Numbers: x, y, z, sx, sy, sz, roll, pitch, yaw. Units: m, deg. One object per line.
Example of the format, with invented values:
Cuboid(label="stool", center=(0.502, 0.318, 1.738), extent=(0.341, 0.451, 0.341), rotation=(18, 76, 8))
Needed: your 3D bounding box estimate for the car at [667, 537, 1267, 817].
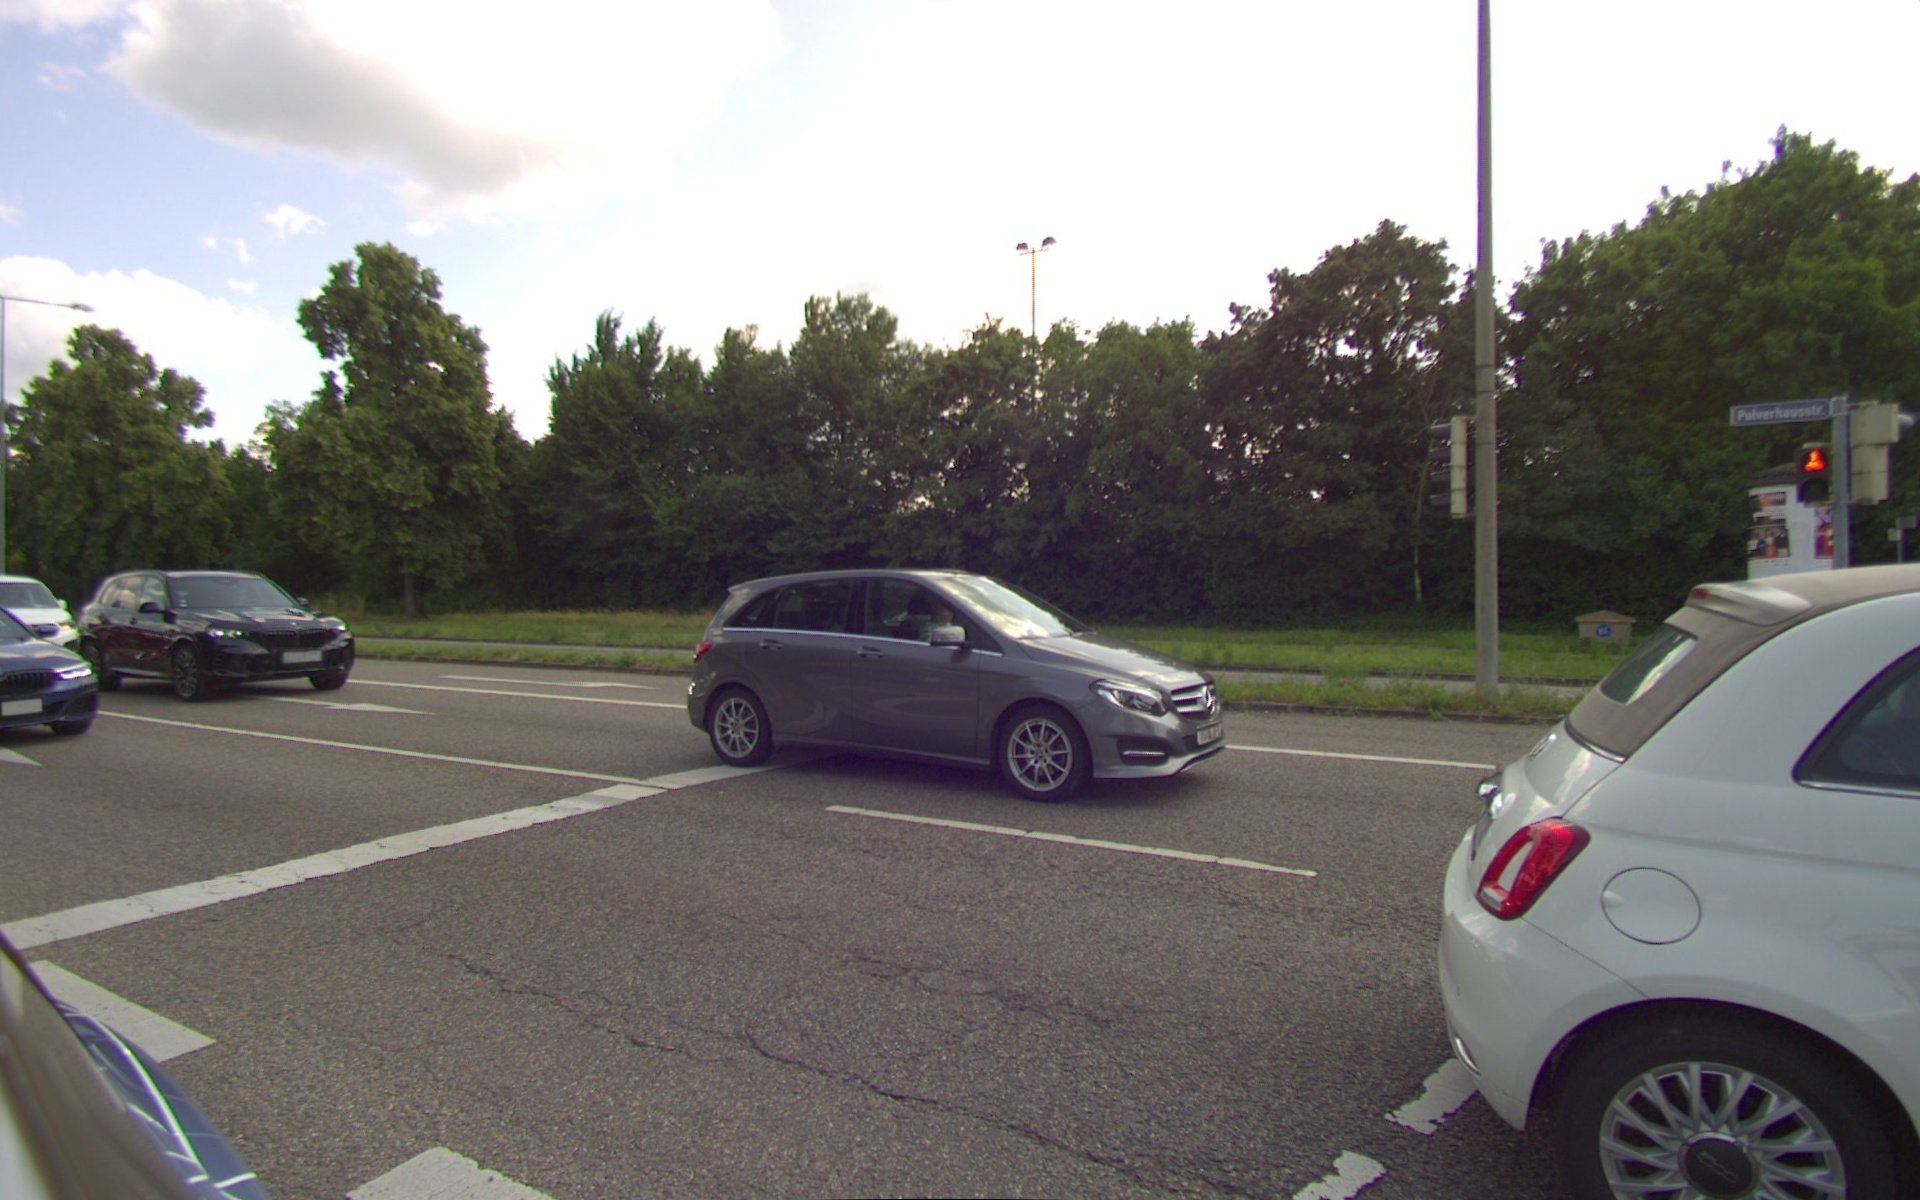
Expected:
Cuboid(label="car", center=(-0.061, 0.441, 7.740), extent=(4.344, 1.631, 1.686), rotation=(0, 1, 31))

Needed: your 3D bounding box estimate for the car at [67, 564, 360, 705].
Cuboid(label="car", center=(-10.794, 0.390, 14.562), extent=(4.533, 1.759, 1.800), rotation=(1, 1, 31))

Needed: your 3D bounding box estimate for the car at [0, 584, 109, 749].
Cuboid(label="car", center=(-10.994, 0.605, 10.524), extent=(4.855, 1.508, 1.784), rotation=(1, 2, 31))

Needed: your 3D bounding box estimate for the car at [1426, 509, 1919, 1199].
Cuboid(label="car", center=(2.883, 0.578, 1.928), extent=(3.526, 1.508, 1.559), rotation=(0, 2, 30))

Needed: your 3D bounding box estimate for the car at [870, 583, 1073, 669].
Cuboid(label="car", center=(0.220, 0.509, 22.488), extent=(4.294, 1.755, 1.659), rotation=(1, 1, 31))

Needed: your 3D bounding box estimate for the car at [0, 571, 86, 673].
Cuboid(label="car", center=(-18.980, 0.365, 19.582), extent=(4.713, 1.811, 1.753), rotation=(1, 1, 31))

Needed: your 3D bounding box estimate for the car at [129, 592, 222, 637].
Cuboid(label="car", center=(-32.765, 0.560, 42.226), extent=(4.239, 1.807, 1.659), rotation=(1, 1, 31))
